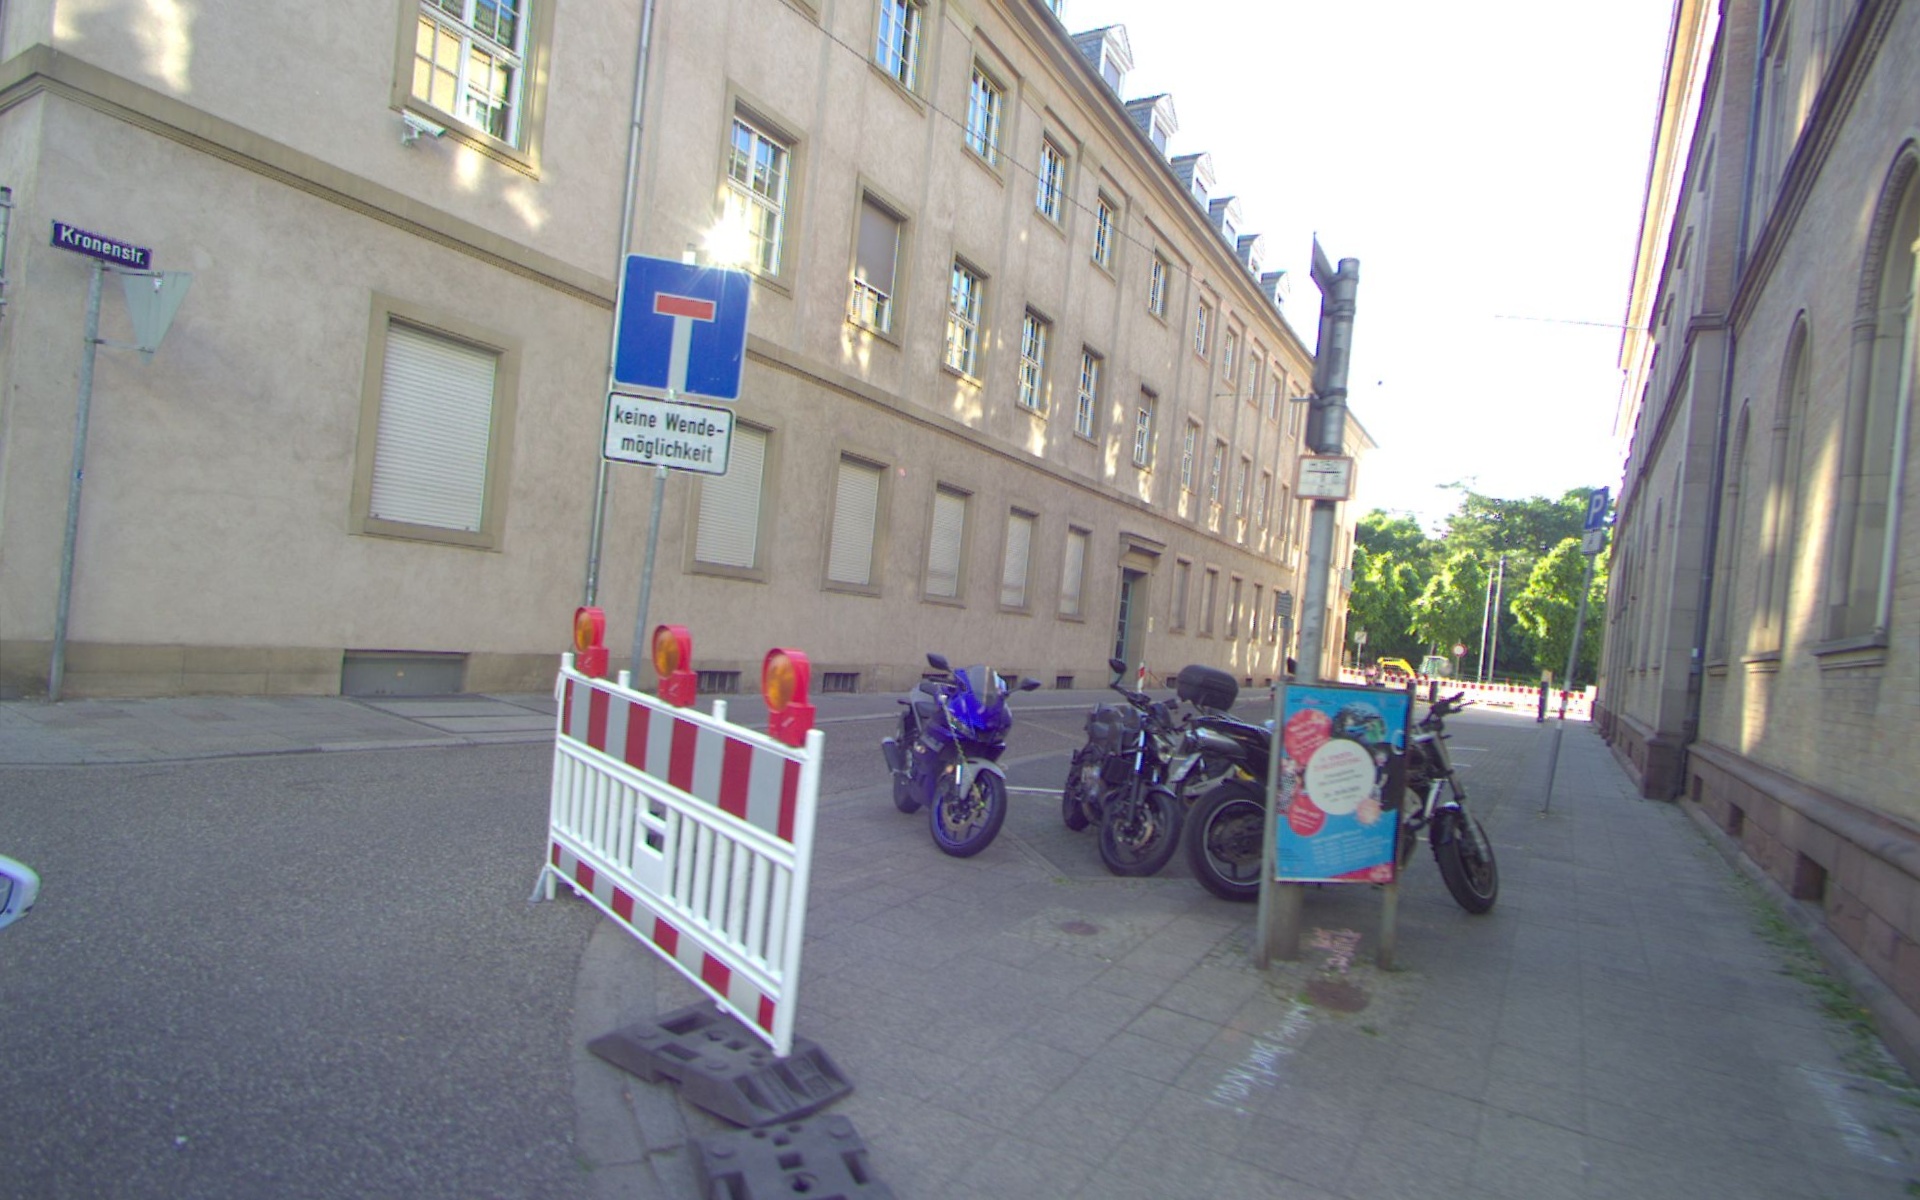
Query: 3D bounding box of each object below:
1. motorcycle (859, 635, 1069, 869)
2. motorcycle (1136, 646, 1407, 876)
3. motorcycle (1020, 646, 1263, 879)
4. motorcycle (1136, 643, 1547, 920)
[{"bbox_3d":[-0.072,0.924,6.818,0.861,1.240,2.145,4,0,-14],"label":"motorcycle"},{"bbox_3d":[2.168,1.082,7.414,0.816,1.304,2.139,6,-1,-14],"label":"motorcycle"},{"bbox_3d":[1.147,1.021,6.929,0.816,1.239,1.949,6,-1,-14],"label":"motorcycle"},{"bbox_3d":[2.140,1.013,5.686,2.046,1.350,0.705,5,0,-14],"label":"motorcycle"}]
